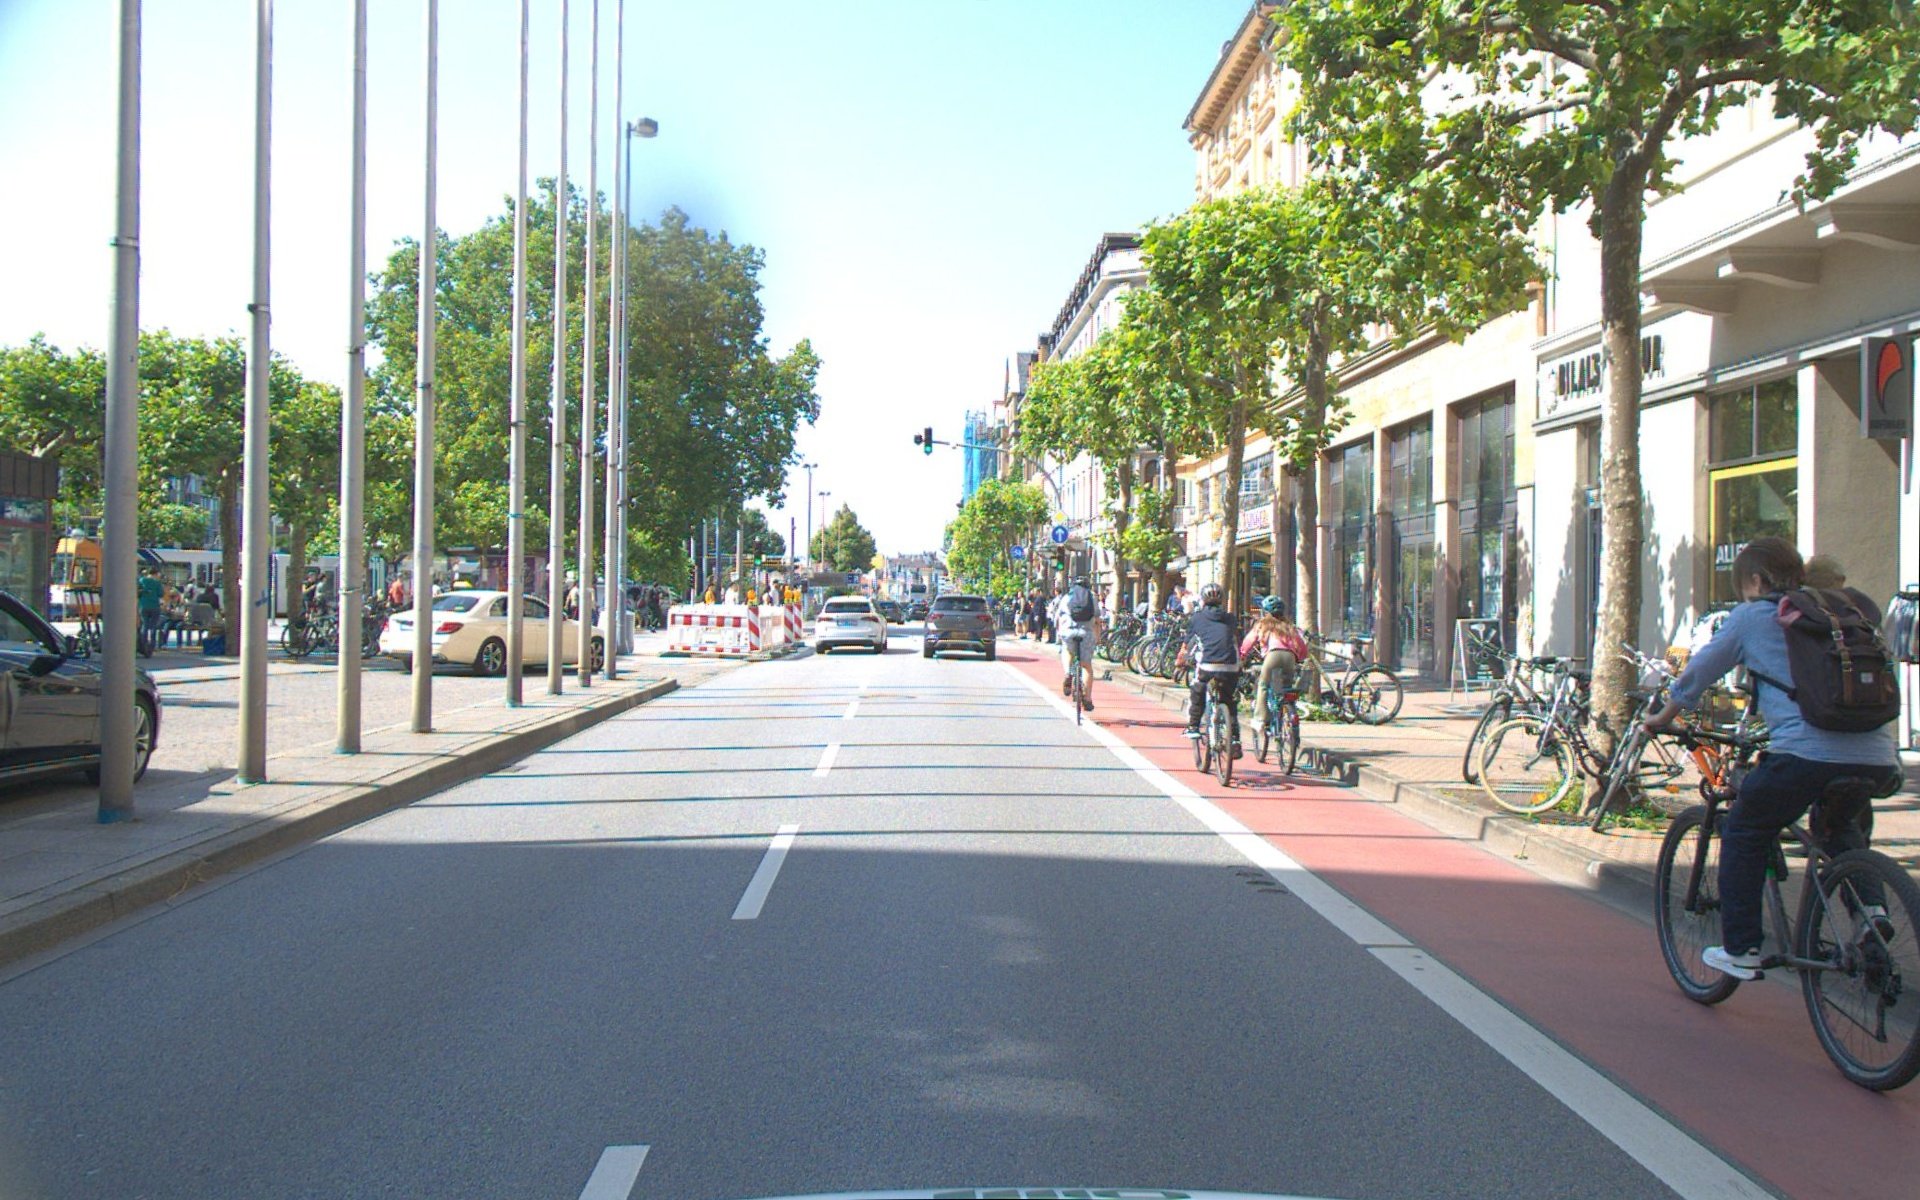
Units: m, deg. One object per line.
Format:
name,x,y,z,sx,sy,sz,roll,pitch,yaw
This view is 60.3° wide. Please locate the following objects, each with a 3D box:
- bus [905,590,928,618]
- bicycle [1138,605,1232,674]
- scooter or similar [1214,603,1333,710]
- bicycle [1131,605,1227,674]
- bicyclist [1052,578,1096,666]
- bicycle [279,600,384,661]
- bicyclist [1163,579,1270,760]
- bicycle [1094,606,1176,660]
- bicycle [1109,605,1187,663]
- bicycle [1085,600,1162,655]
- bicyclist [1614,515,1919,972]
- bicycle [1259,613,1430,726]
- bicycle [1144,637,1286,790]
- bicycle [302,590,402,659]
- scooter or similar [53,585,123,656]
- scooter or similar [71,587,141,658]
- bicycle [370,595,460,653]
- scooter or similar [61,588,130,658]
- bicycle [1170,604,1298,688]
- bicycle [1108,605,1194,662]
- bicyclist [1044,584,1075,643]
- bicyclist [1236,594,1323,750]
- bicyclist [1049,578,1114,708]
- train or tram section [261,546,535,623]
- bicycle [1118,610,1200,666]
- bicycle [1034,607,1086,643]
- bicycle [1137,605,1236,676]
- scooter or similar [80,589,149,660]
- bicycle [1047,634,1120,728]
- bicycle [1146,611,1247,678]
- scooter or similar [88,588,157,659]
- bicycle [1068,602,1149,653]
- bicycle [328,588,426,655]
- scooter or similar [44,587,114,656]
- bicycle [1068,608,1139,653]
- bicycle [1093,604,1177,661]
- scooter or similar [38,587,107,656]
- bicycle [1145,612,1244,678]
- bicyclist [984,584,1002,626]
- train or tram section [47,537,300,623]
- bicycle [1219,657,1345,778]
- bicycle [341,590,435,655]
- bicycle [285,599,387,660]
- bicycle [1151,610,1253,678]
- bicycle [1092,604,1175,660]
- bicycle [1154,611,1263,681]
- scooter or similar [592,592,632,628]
bus,-6.049,0.575,230.026,2.935,3.657,11.738,1,-1,-3
bicycle,4.206,0.734,30.989,1.693,1.238,0.477,1,0,0
scooter or similar,4.029,0.720,21.323,1.443,1.297,0.670,2,0,9
bicycle,4.039,0.727,30.492,1.693,1.238,0.477,1,0,0
bicyclist,2.172,0.412,31.543,0.759,1.664,0.851,0,0,-2
bicycle,-11.937,0.573,31.443,1.747,1.124,0.562,1,0,-5
bicyclist,2.160,0.576,13.998,0.685,1.466,0.790,2,0,-5
bicycle,4.017,0.753,38.071,1.806,1.184,0.659,1,0,0
bicycle,4.046,0.724,35.715,1.615,1.222,0.474,1,0,0
bicycle,4.078,0.695,41.259,1.795,1.332,0.684,1,0,-22
bicyclist,2.905,0.473,5.873,0.685,1.471,0.960,2,0,-5
bicycle,4.431,0.794,19.150,1.801,1.206,0.670,2,0,3
bicycle,2.136,0.923,14.132,0.685,1.146,2.079,2,0,-5
bicycle,-12.015,0.479,32.700,1.747,1.331,0.562,1,0,-5
scooter or similar,-15.741,0.365,29.881,0.228,1.235,1.304,1,0,17
scooter or similar,-15.307,0.404,29.673,0.228,1.235,1.304,1,0,17
bicycle,-11.955,0.523,36.313,1.747,1.236,0.662,1,0,-5
scooter or similar,-15.534,0.406,29.743,0.228,1.235,1.304,1,0,17
bicycle,4.333,0.718,26.248,1.892,1.270,0.736,1,0,0
bicycle,4.159,0.728,36.133,1.806,1.222,0.474,1,0,0
bicyclist,3.157,0.425,52.511,0.569,1.828,0.846,-2,0,-36
bicyclist,2.905,0.639,15.076,0.588,1.381,0.720,1,0,-5
bicyclist,1.448,0.502,19.869,0.617,1.507,1.197,1,0,-3
train or tram section,-29.426,-0.710,88.021,2.567,3.741,15.500,1,0,33
bicycle,4.098,0.783,34.194,1.615,1.114,0.607,1,0,0
bicycle,3.165,0.800,52.515,0.595,1.101,1.816,-2,0,-36
bicycle,4.069,0.717,29.768,1.693,1.238,0.477,1,0,0
scooter or similar,-15.098,0.432,29.571,0.228,1.235,1.304,1,0,17
bicycle,1.448,0.938,19.754,0.617,0.997,2.088,1,0,-3
bicycle,4.140,0.779,28.990,1.693,1.128,0.402,1,0,0
scooter or similar,-14.888,0.414,29.430,0.228,1.235,1.304,1,0,17
bicycle,3.757,0.696,41.846,1.905,1.279,0.701,1,0,-22
bicycle,-11.971,0.430,33.991,1.747,1.331,0.662,1,0,-5
scooter or similar,-15.969,0.385,29.998,0.228,1.235,1.304,1,0,17
bicycle,3.706,0.788,42.724,1.747,1.142,0.562,0,0,-5
bicycle,3.901,0.721,36.930,1.806,1.222,0.545,1,0,0
scooter or similar,-16.166,0.388,30.155,0.228,1.235,1.304,1,0,17
bicycle,4.161,0.795,29.409,1.693,1.128,0.477,1,0,0
bicyclist,1.263,0.182,62.836,0.634,1.578,0.817,1,0,-2
train or tram section,-36.450,-0.840,77.294,2.567,3.741,10.970,1,0,33
bicycle,2.898,1.033,15.080,0.588,0.942,2.085,1,0,-5
bicycle,-12.068,0.462,34.921,1.747,1.331,0.662,1,0,-5
bicycle,-12.109,0.570,32.126,1.747,1.152,0.562,1,0,-5
bicycle,4.178,0.750,28.577,1.693,1.128,0.402,1,0,0
bicycle,3.921,0.728,37.437,1.806,1.222,0.608,1,0,0
bicycle,4.154,0.760,27.723,1.693,1.128,0.736,1,0,0
scooter or similar,-14.371,0.416,68.321,1.252,1.445,1.037,0,-1,29
